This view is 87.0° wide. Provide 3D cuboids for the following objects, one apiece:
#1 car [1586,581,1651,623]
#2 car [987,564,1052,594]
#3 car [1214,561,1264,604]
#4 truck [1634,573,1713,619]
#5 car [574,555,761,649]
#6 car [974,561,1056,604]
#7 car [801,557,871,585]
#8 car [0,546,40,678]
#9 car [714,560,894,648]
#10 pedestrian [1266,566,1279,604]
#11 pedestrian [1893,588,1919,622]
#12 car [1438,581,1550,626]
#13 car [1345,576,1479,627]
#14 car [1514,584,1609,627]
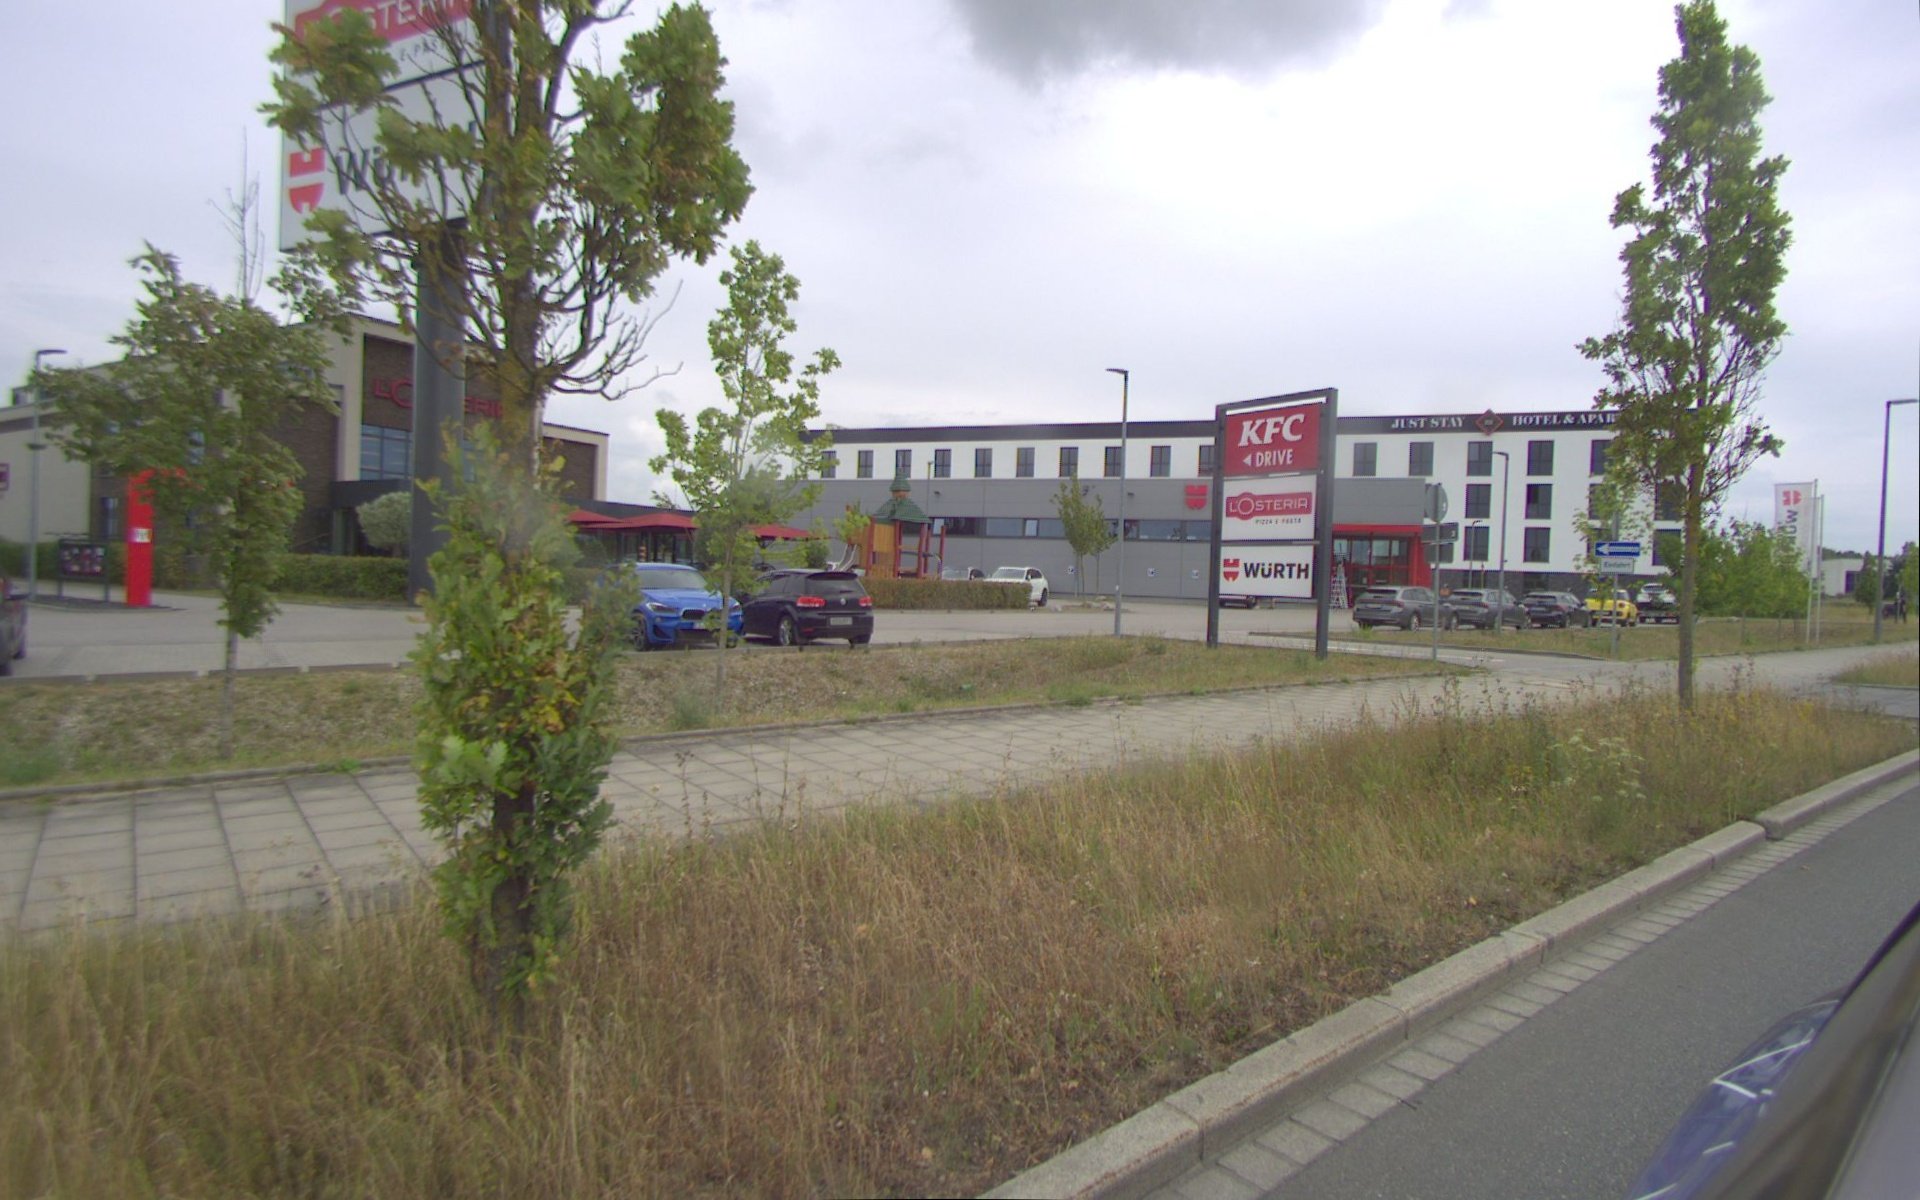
[{"bbox_3d":[28.693,0.081,44.058,1.761,1.707,4.346,3,2,41],"label":"car"},{"bbox_3d":[3.364,-1.181,56.286,2.059,1.537,4.538,3,2,25],"label":"car"},{"bbox_3d":[14.081,-0.865,50.878,1.976,2.012,4.604,2,1,21],"label":"car"},{"bbox_3d":[39.806,-0.216,56.332,2.228,2.354,8.081,3,2,45],"label":"truck"},{"bbox_3d":[-5.569,-0.032,18.900,1.929,1.539,4.275,1,2,-37],"label":"car"},{"bbox_3d":[2.466,-0.757,43.737,1.978,1.718,4.754,2,1,24],"label":"car"},{"bbox_3d":[-7.381,-1.694,60.623,2.059,1.537,4.538,3,2,25],"label":"car"},{"bbox_3d":[-12.781,0.066,12.526,1.856,1.512,3.767,0,2,-39],"label":"car"},{"bbox_3d":[-3.179,0.014,19.939,1.944,1.512,4.001,1,2,-35],"label":"car"},{"bbox_3d":[15.670,-0.750,50.745,0.606,1.892,0.797,2,1,18],"label":"pedestrian"},{"bbox_3d":[54.685,0.299,58.374,1.069,1.880,1.179,3,3,37],"label":"pedestrian"},{"bbox_3d":[19.067,0.114,36.042,4.793,1.455,1.867,1,2,-41],"label":"car"},{"bbox_3d":[14.647,0.045,32.689,4.743,1.478,1.967,1,2,-38],"label":"car"},{"bbox_3d":[23.816,0.163,40.004,4.530,1.515,1.997,-1,3,-42],"label":"car"}]
